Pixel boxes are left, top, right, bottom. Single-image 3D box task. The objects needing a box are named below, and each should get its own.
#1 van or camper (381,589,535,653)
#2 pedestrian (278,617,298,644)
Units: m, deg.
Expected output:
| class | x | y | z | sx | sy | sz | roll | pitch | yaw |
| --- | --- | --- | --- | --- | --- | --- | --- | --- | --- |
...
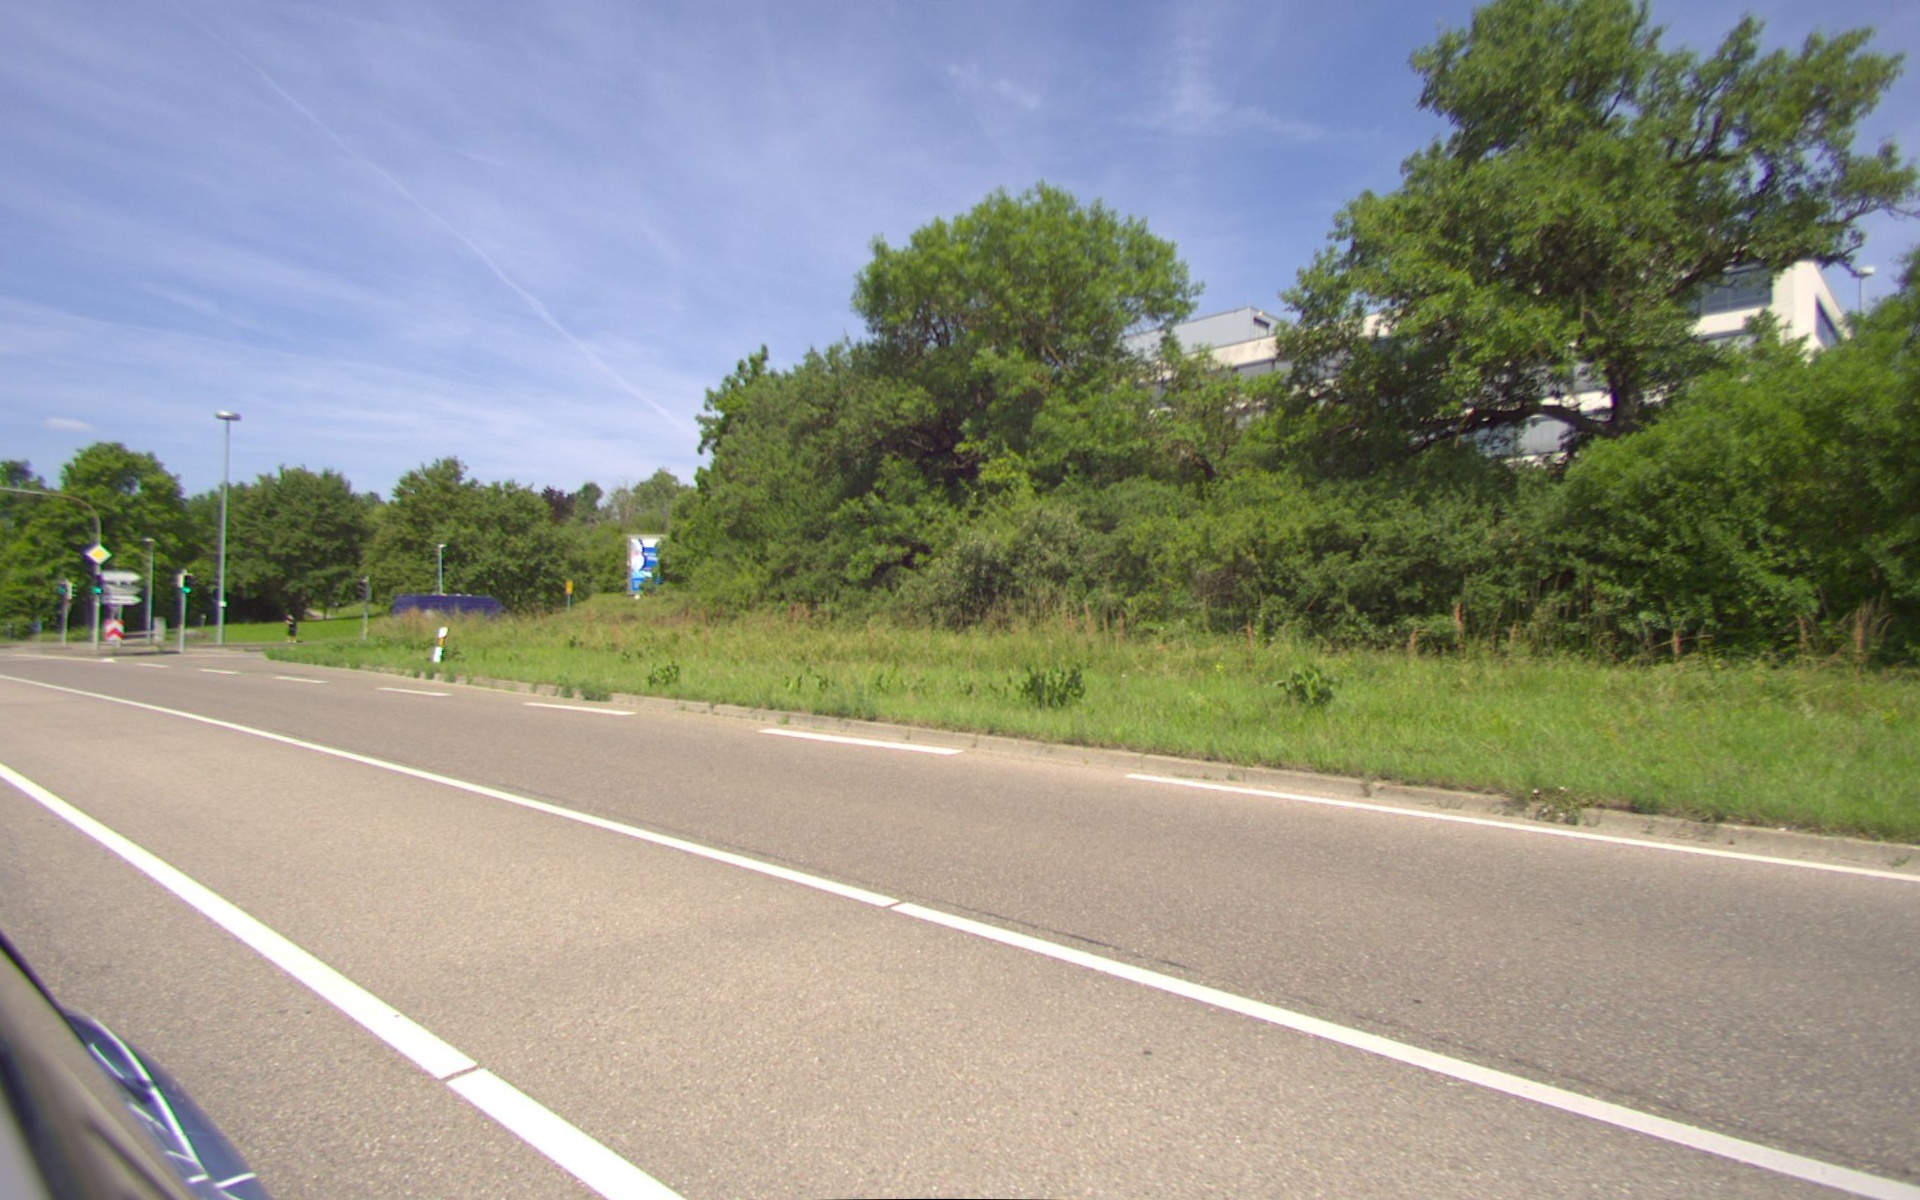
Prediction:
| class | x | y | z | sx | sy | sz | roll | pitch | yaw |
| --- | --- | --- | --- | --- | --- | --- | --- | --- | --- |
| van or camper | -25.932 | 1.225 | 52.697 | 2.236 | 2.936 | 7.176 | -2 | -5 | 28 |
| pedestrian | -43.548 | 1.960 | 65.621 | 0.906 | 1.749 | 0.902 | -1 | 0 | -21 |
